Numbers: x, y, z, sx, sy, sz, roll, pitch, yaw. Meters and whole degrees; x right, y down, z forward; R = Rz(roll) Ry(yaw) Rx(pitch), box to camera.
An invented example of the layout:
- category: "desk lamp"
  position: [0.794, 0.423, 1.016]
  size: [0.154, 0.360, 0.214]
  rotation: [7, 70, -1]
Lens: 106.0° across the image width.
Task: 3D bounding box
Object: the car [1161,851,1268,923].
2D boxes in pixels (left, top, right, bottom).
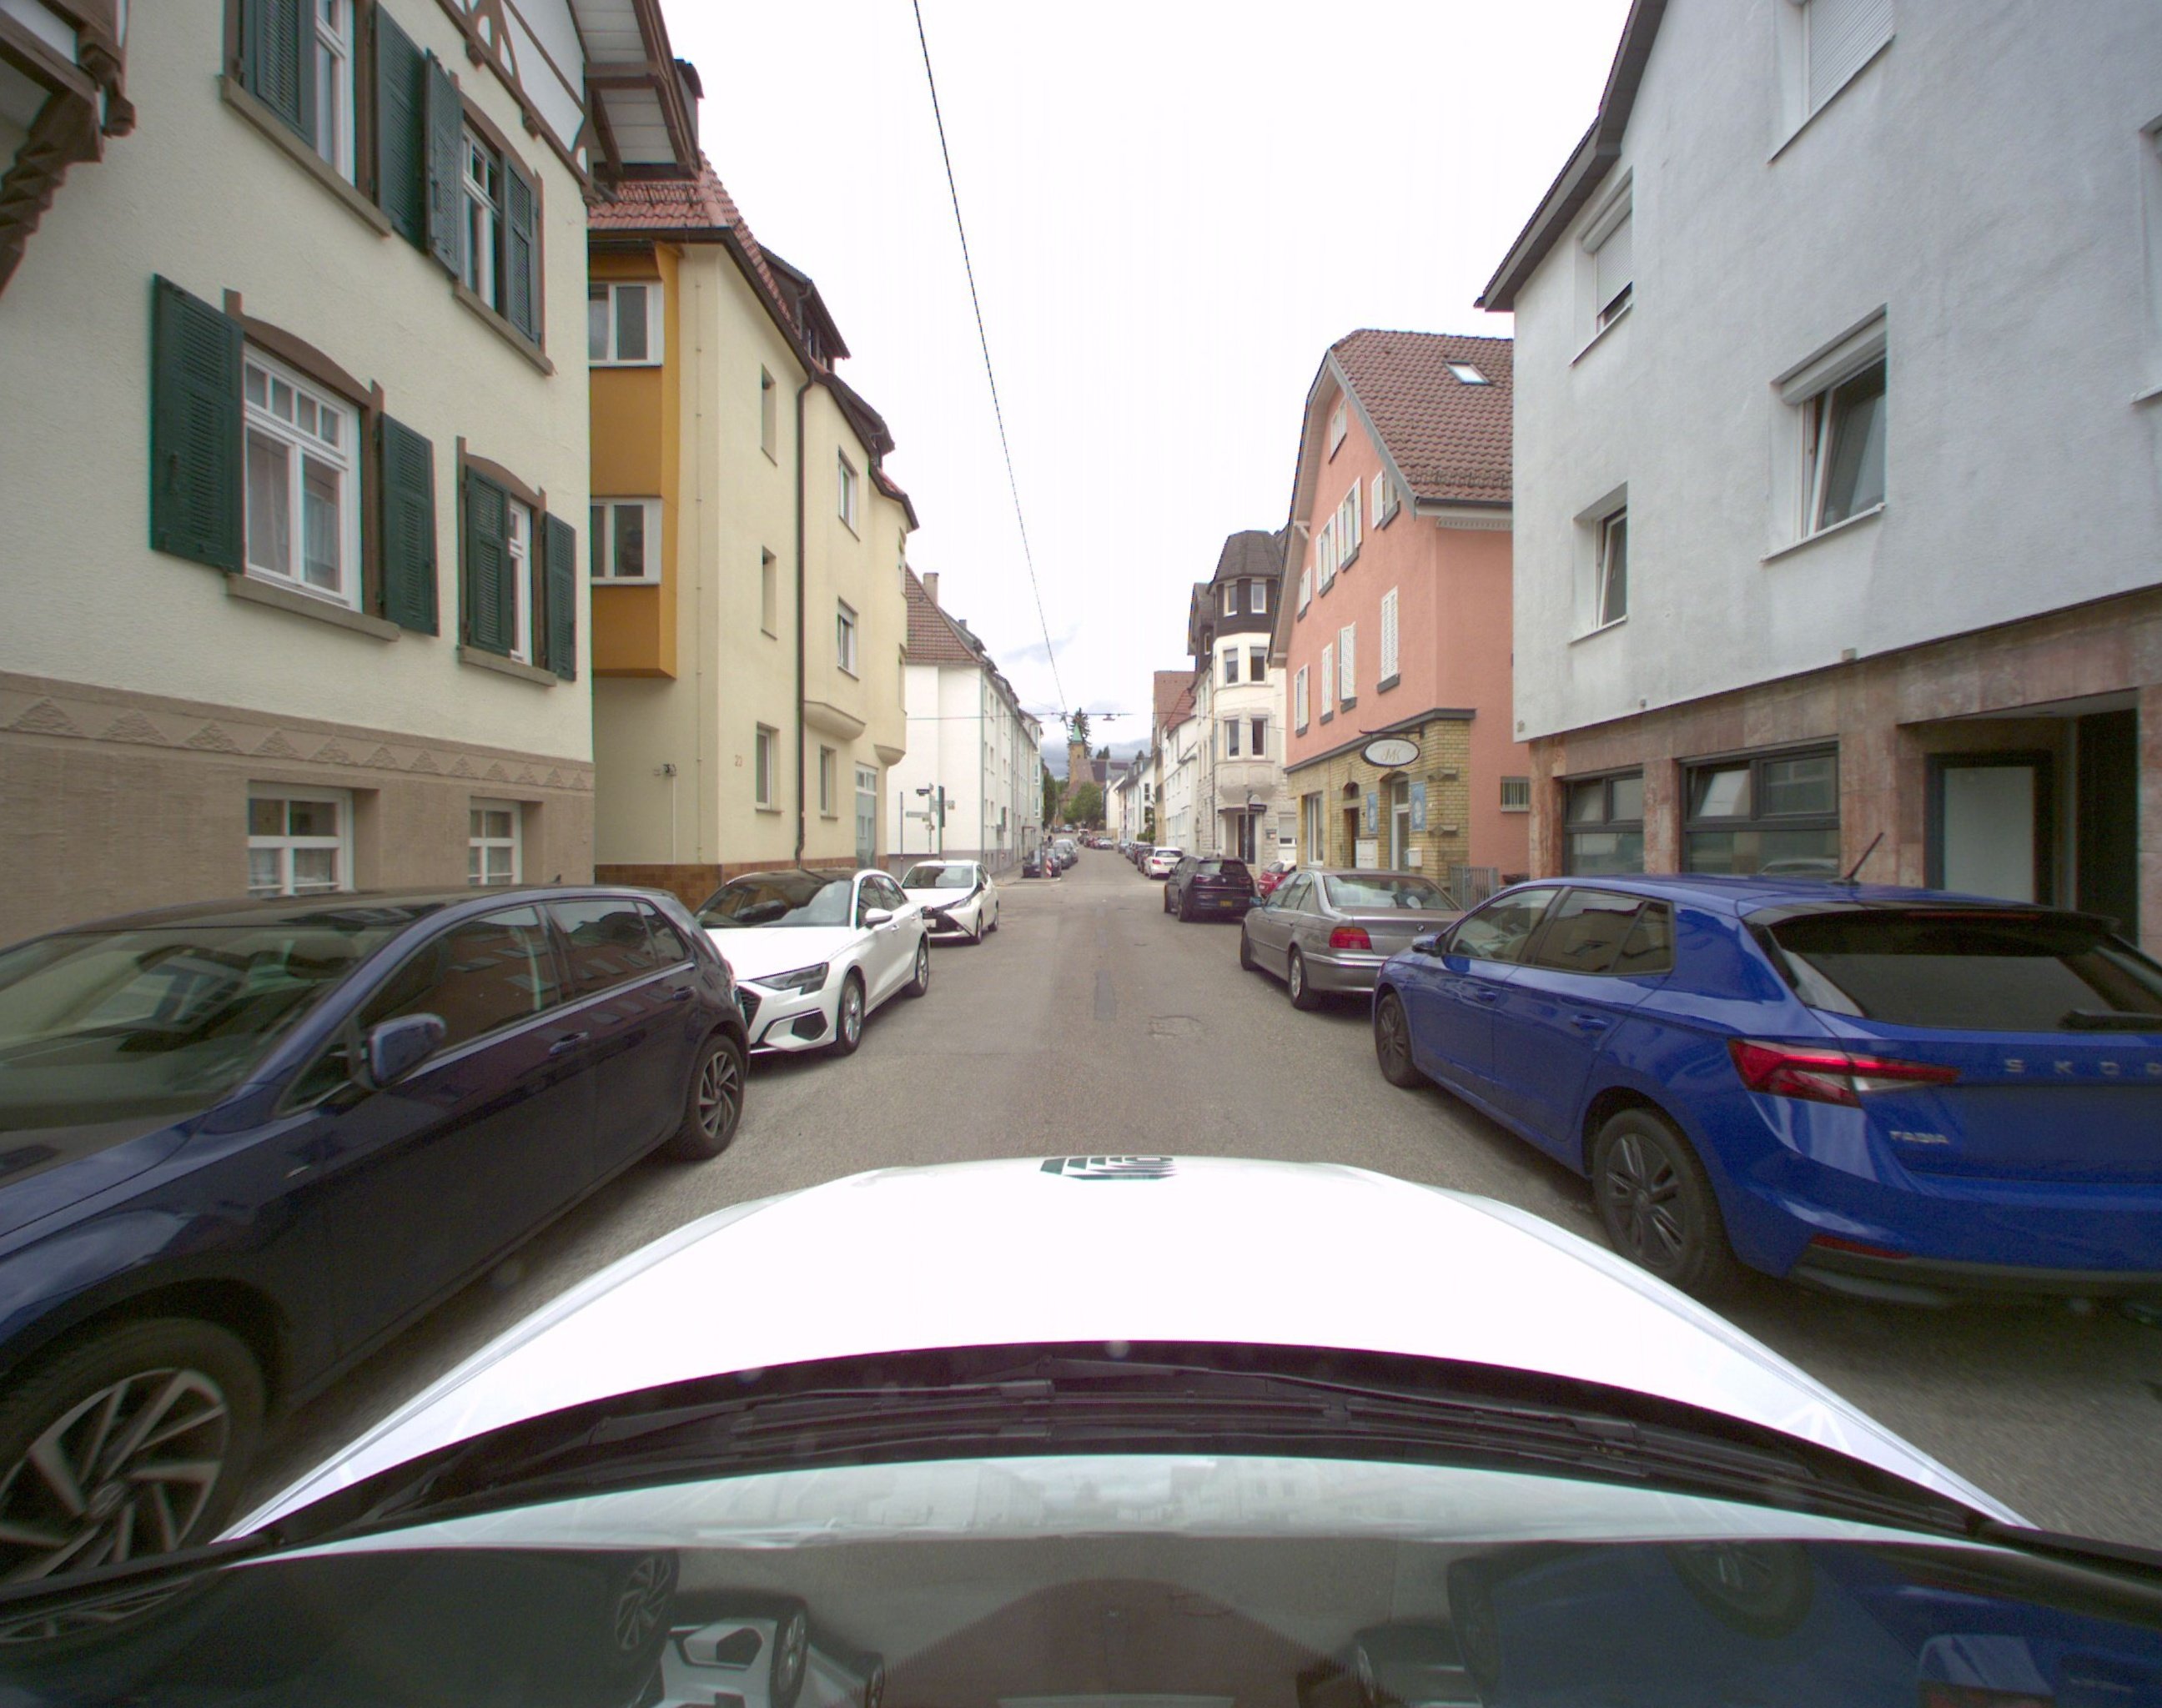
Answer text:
- category: "car"
  position: [3.110, 0.718, 19.828]
  size: [1.813, 1.543, 4.024]
  rotation: [1, 0, -2]

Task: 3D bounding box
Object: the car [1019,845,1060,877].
- category: "car"
  position: [-2.013, 0.313, 40.529]
  size: [1.815, 1.391, 4.297]
  rotation: [-1, 2, -1]

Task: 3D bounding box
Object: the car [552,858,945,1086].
- category: "car"
  position: [-2.591, 0.813, 7.632]
  size: [1.745, 1.432, 4.371]
  rotation: [-3, -1, 1]

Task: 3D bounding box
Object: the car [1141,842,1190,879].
- category: "car"
  position: [4.101, 0.270, 40.033]
  size: [1.815, 1.599, 4.025]
  rotation: [1, 2, -2]

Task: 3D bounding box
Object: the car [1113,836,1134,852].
- category: "car"
  position: [4.133, -0.977, 79.516]
  size: [1.663, 1.479, 3.624]
  rotation: [1, 2, -2]

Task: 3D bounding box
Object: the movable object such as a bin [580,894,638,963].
- category: "movable object such as a bin"
  position: [-6.698, 1.049, 11.578]
  size: [0.502, 0.924, 0.546]
  rotation: [1, 0, -4]

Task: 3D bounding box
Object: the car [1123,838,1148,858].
- category: "car"
  position: [4.429, -0.513, 66.568]
  size: [1.663, 1.479, 3.624]
  rotation: [1, 2, -2]

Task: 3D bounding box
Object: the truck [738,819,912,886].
- category: "truck"
  position: [-10.029, -0.063, 32.430]
  size: [6.260, 2.552, 2.312]
  rotation: [-1, -1, -7]

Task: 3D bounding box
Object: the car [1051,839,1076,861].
- category: "car"
  position: [-1.259, -0.303, 59.721]
  size: [1.725, 1.448, 3.718]
  rotation: [-1, 2, -1]

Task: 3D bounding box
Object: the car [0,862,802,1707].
- category: "car"
  position: [-2.655, 0.799, 2.692]
  size: [1.745, 1.456, 4.372]
  rotation: [-3, -1, 2]

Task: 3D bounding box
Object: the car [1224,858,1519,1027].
- category: "car"
  position: [2.966, 0.811, 9.468]
  size: [1.781, 1.417, 4.577]
  rotation: [2, -1, 0]

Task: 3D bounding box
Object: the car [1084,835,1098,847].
- category: "car"
  position: [1.291, -1.773, 109.063]
  size: [1.663, 1.479, 3.624]
  rotation: [0, 2, -2]

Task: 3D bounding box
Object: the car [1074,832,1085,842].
- category: "car"
  position: [-0.274, -2.673, 125.951]
  size: [1.663, 1.479, 3.624]
  rotation: [0, 2, -2]

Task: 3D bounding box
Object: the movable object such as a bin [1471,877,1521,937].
- category: "movable object such as a bin"
  position: [6.776, 0.861, 13.318]
  size: [0.502, 0.924, 0.546]
  rotation: [-2, 0, -4]

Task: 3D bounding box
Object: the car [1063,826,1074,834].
- category: "car"
  position: [-2.696, -5.297, 176.564]
  size: [2.180, 1.693, 3.618]
  rotation: [0, 2, -7]

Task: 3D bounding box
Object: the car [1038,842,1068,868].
- category: "car"
  position: [-1.699, 0.034, 49.865]
  size: [1.725, 1.489, 3.718]
  rotation: [-1, 2, -1]

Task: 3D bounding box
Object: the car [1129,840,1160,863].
- category: "car"
  position: [4.283, -0.204, 55.658]
  size: [1.663, 1.384, 4.025]
  rotation: [1, 2, -2]

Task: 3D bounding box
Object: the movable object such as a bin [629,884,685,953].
- category: "movable object such as a bin"
  position: [-5.999, 0.903, 11.549]
  size: [0.502, 0.924, 0.546]
  rotation: [1, 0, -4]

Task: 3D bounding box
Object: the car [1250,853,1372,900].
- category: "car"
  position: [7.797, 0.752, 27.741]
  size: [3.610, 1.479, 1.669]
  rotation: [1, 1, -7]

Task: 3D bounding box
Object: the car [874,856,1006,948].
- category: "car"
  position: [-2.501, 0.816, 15.333]
  size: [1.661, 1.434, 3.817]
  rotation: [-3, -1, 1]

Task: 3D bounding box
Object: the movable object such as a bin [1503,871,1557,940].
- category: "movable object such as a bin"
  position: [7.343, 0.834, 13.338]
  size: [0.502, 1.061, 0.604]
  rotation: [-2, 0, -4]

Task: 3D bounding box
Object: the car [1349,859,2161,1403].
- category: "car"
  position: [2.844, 0.768, 4.146]
  size: [1.745, 1.432, 3.929]
  rotation: [1, -1, 1]

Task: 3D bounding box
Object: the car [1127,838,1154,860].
- category: "car"
  position: [4.511, -0.417, 61.794]
  size: [1.663, 1.479, 3.624]
  rotation: [1, 2, -2]

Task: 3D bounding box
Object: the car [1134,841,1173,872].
- category: "car"
  position: [3.957, 0.116, 45.172]
  size: [1.663, 1.532, 4.025]
  rotation: [1, 2, -2]

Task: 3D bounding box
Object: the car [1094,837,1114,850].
- category: "car"
  position: [2.769, -1.302, 97.947]
  size: [1.783, 1.479, 3.616]
  rotation: [0, 2, -9]

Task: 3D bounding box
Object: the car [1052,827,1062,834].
- category: "car"
  position: [-5.116, -4.977, 173.925]
  size: [1.666, 1.479, 3.618]
  rotation: [0, 2, -7]

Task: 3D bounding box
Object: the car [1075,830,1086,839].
- category: "car"
  position: [-0.070, -3.305, 137.699]
  size: [1.663, 1.479, 3.624]
  rotation: [0, 2, -2]
